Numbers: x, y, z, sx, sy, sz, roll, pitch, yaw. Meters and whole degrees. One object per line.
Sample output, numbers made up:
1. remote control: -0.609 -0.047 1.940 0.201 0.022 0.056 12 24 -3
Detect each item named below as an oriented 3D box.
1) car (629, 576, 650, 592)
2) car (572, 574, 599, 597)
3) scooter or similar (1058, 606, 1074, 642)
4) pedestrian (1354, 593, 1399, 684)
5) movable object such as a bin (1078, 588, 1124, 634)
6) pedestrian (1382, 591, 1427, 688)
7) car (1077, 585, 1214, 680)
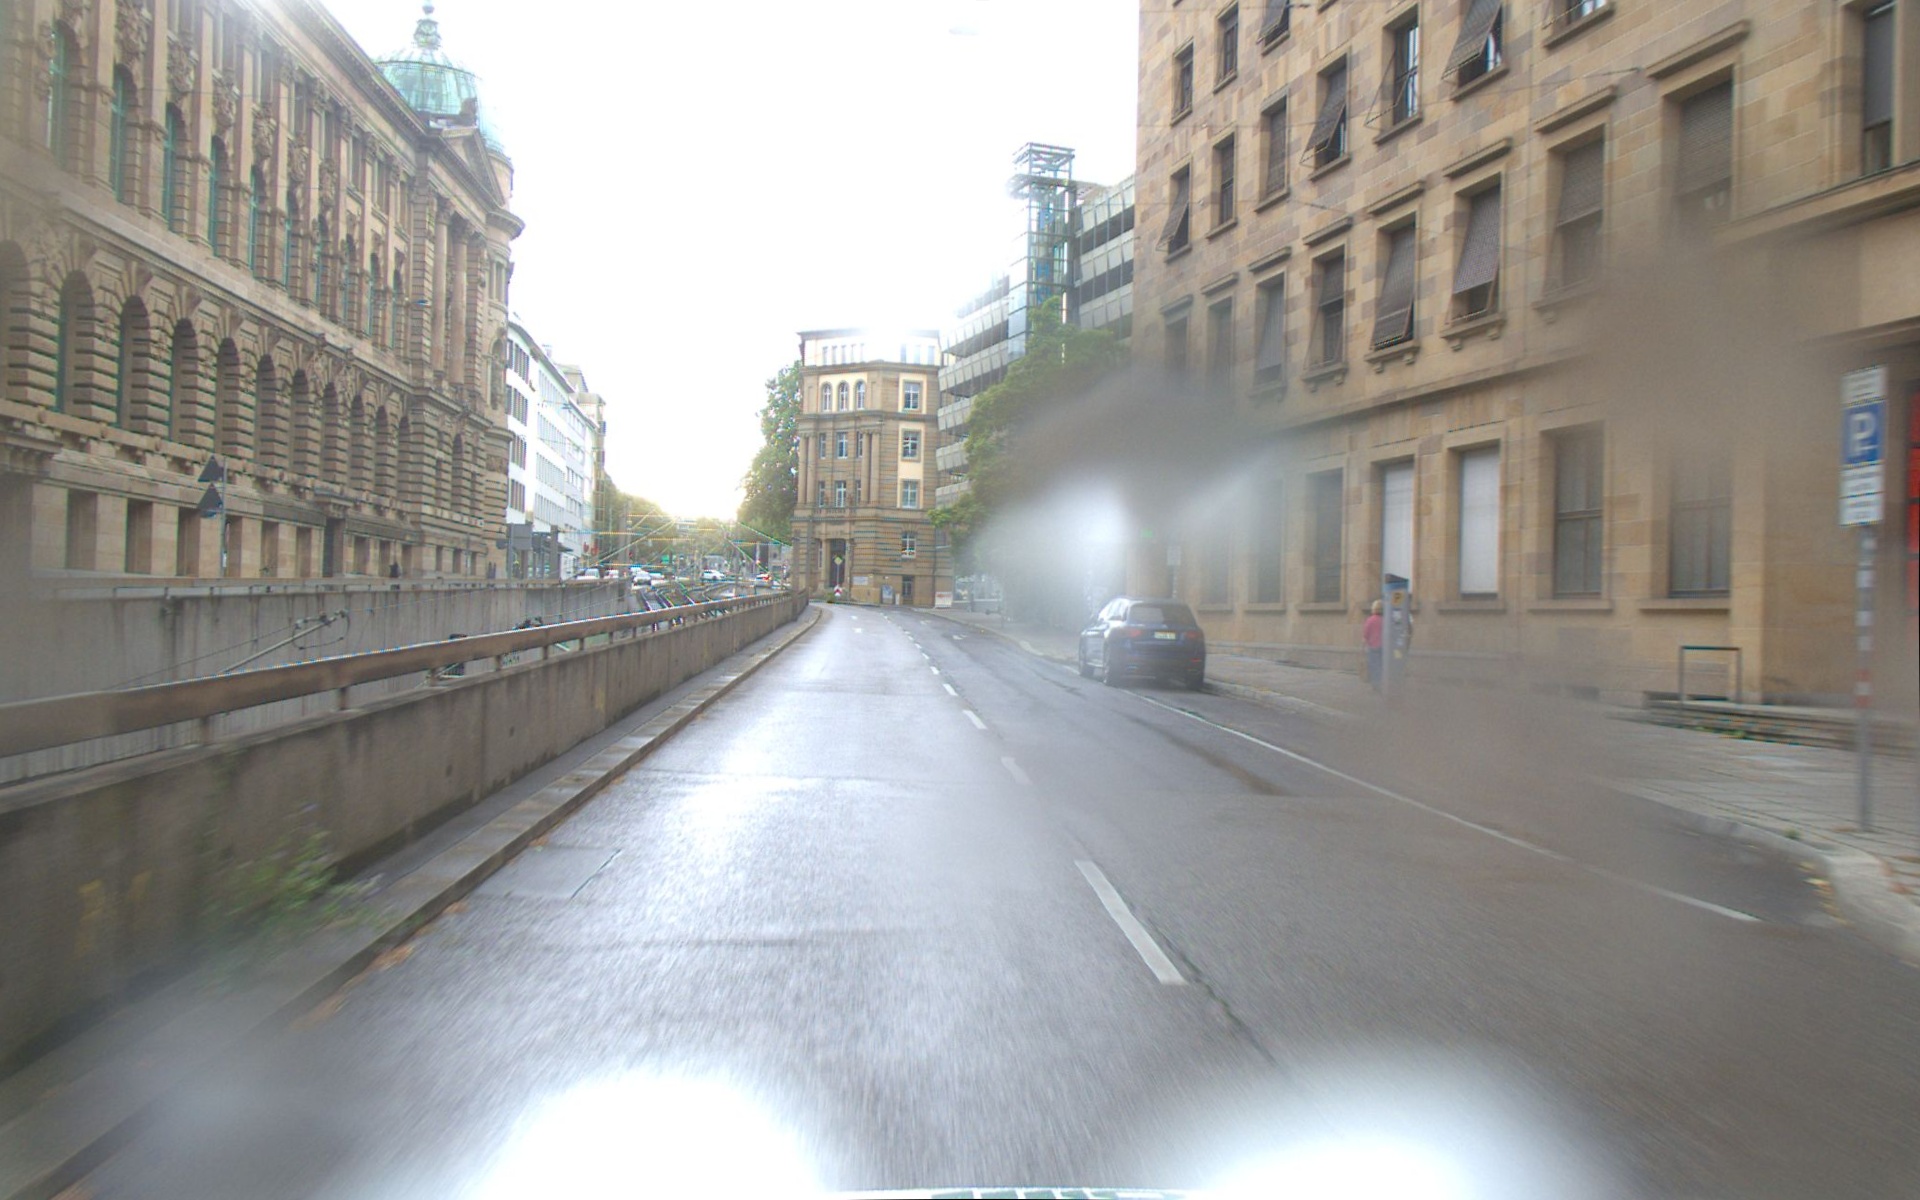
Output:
1. car: -33.867 -1.714 175.009 1.957 1.554 3.655 3 0 -9
2. car: -33.361 -1.262 147.489 1.957 1.915 4.917 3 0 -9
3. scooter or similar: 3.887 0.884 60.663 0.438 1.281 1.210 0 1 -4
4. pedestrian: 7.133 0.649 28.338 0.514 1.518 0.673 2 0 -6
5. movable object such as a bin: 4.192 0.323 49.434 1.214 1.333 1.233 0 0 -3
6. pedestrian: 7.667 0.673 28.531 0.514 1.630 0.673 2 0 -5
7. car: 3.496 0.598 31.940 1.734 1.647 4.152 2 0 -6
